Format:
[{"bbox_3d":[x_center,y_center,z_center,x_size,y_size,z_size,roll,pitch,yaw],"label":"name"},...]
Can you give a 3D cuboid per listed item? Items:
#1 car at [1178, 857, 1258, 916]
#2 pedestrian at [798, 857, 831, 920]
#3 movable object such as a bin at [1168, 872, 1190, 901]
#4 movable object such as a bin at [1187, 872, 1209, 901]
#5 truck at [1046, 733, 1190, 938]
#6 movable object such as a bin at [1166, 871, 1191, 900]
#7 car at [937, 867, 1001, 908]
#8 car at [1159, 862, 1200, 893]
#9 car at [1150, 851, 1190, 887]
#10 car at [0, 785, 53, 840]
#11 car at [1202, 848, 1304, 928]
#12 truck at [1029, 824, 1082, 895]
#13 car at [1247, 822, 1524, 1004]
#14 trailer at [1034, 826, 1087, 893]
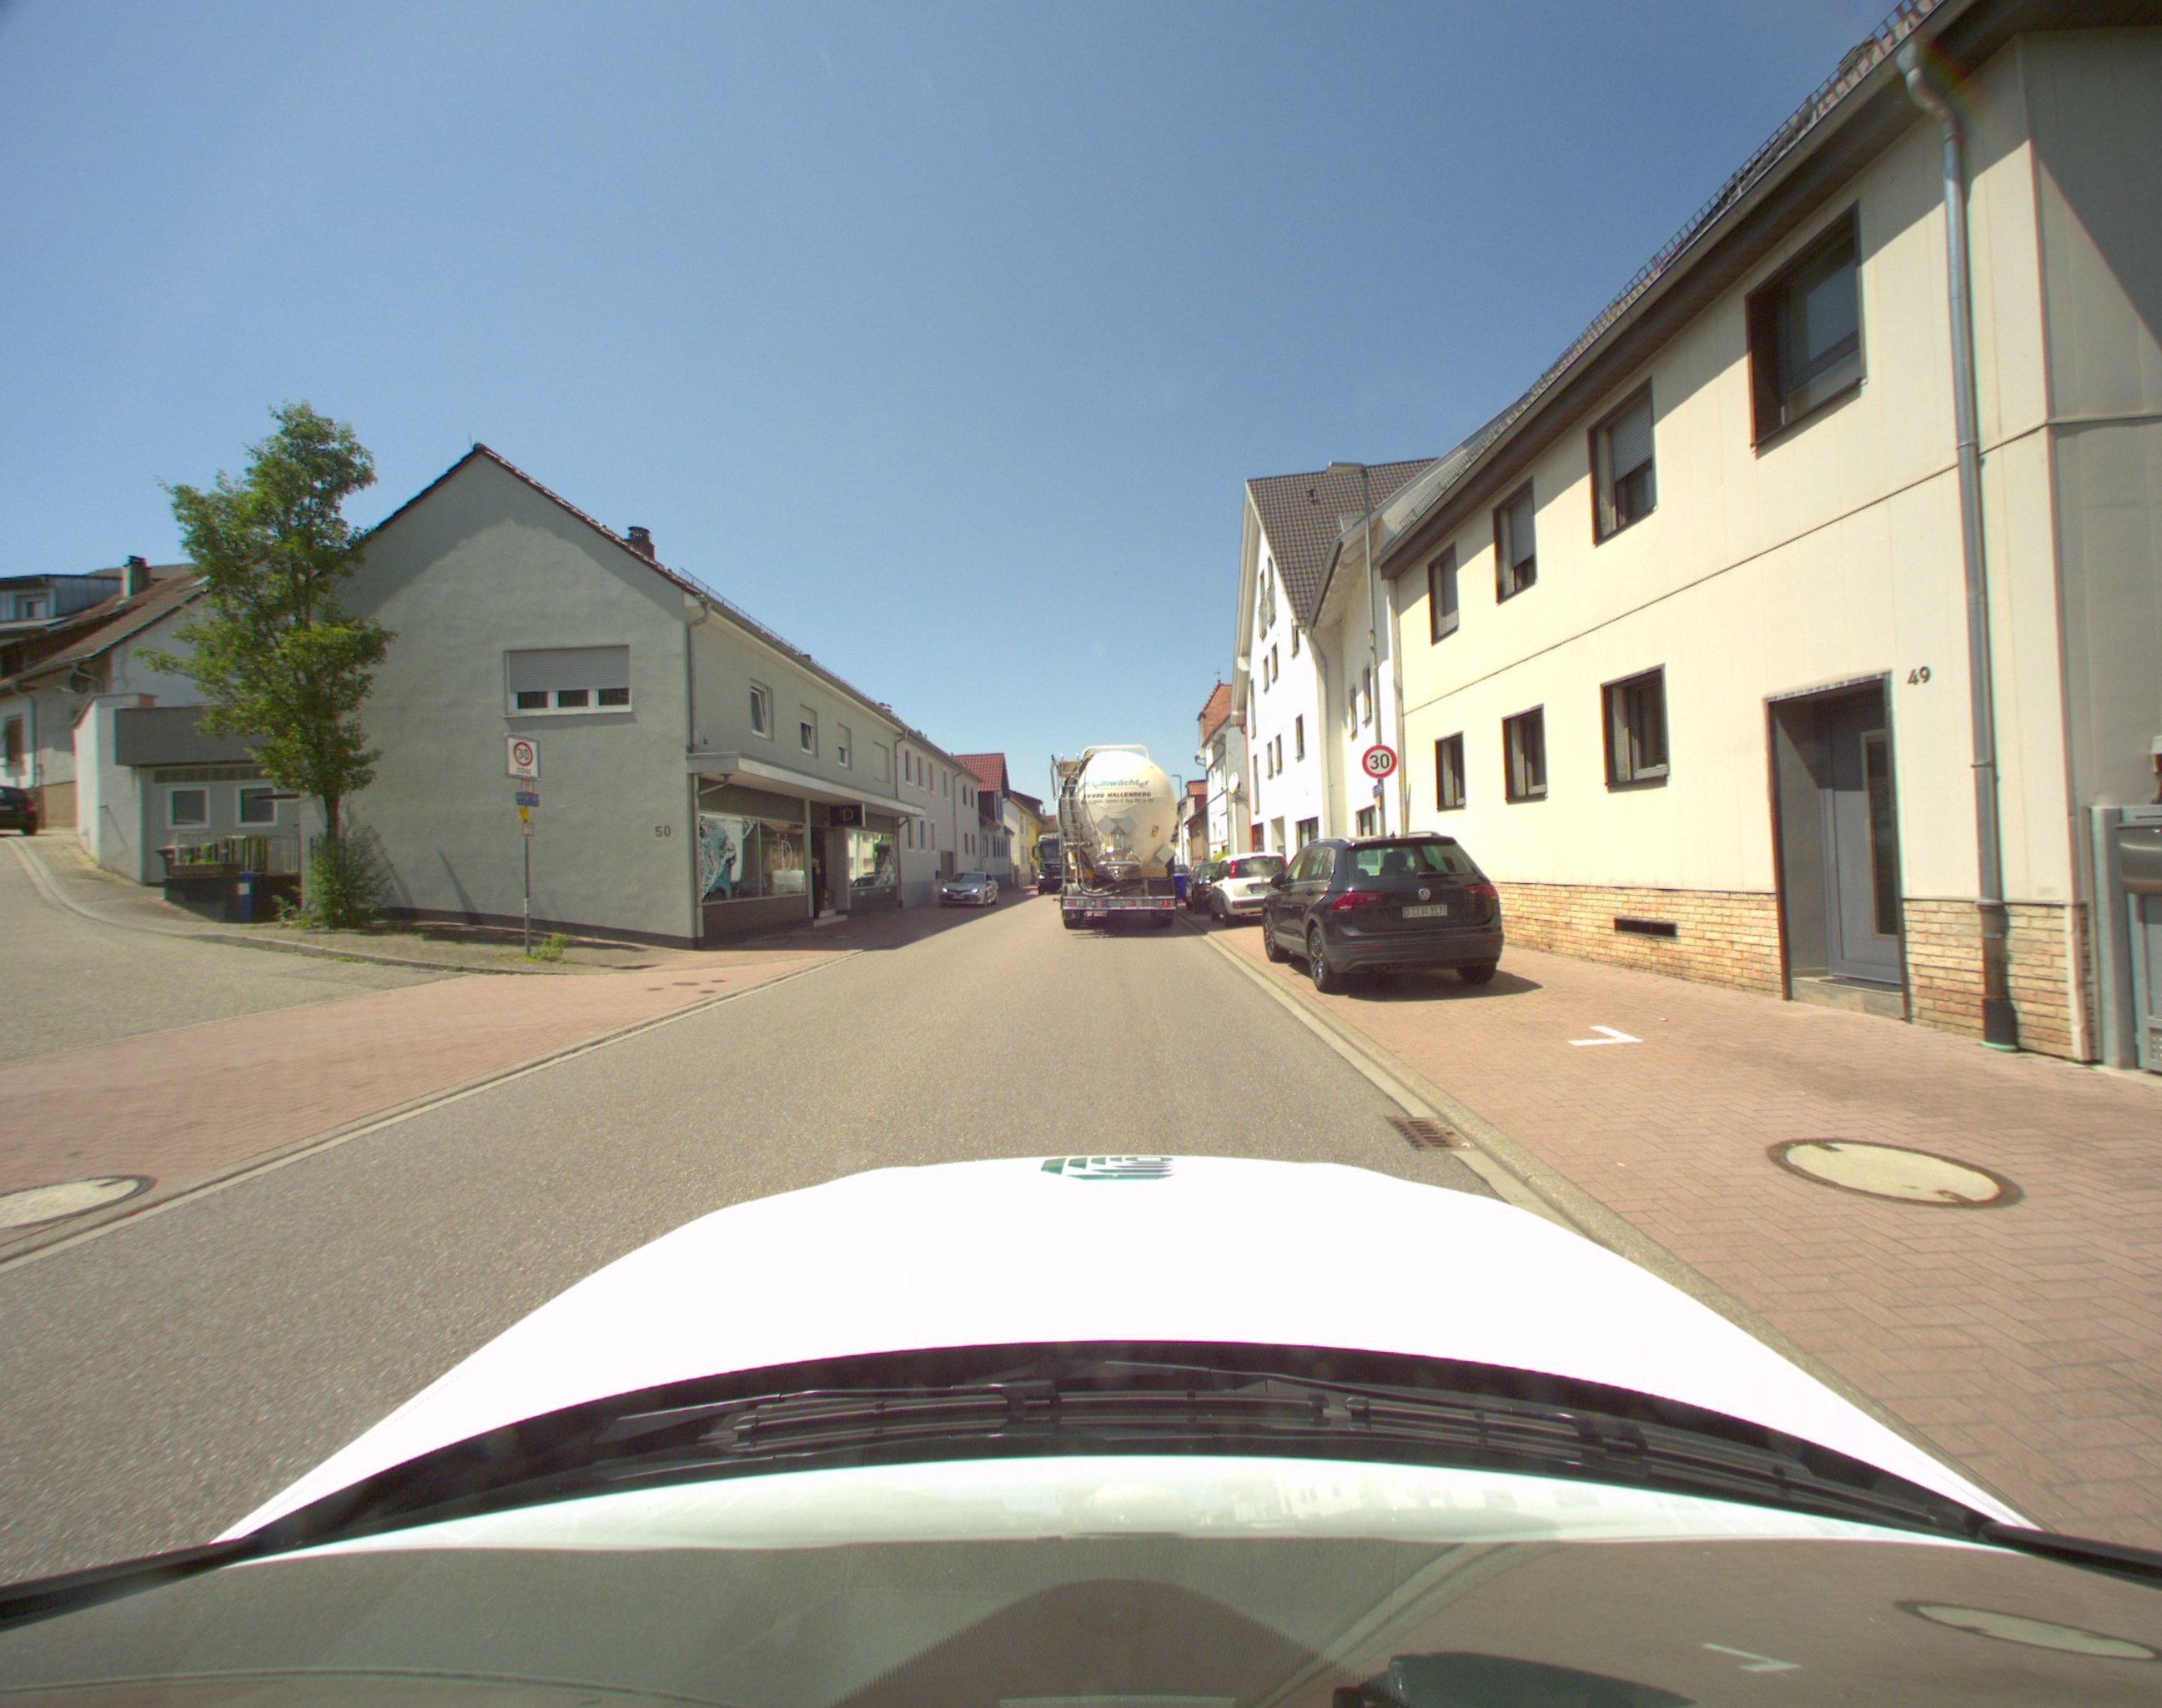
[{"bbox_3d":[3.960,0.904,24.257,1.694,1.447,4.839,-5,-1,2],"label":"car"},{"bbox_3d":[-7.352,0.938,22.512,0.622,1.685,0.771,-1,-1,1],"label":"pedestrian"},{"bbox_3d":[3.807,1.265,31.719,0.650,1.035,0.687,-4,-1,18],"label":"movable object such as a bin"},{"bbox_3d":[4.547,1.247,31.688,0.649,1.060,0.839,-4,-1,18],"label":"movable object such as a bin"},{"bbox_3d":[0.914,-0.286,19.949,2.721,3.960,8.146,-1,-1,3],"label":"truck"},{"bbox_3d":[3.912,1.258,32.603,0.716,1.073,0.976,-4,-1,18],"label":"movable object such as a bin"},{"bbox_3d":[-4.594,1.345,34.023,1.801,1.557,4.567,0,-1,3],"label":"car"},{"bbox_3d":[5.057,1.190,42.143,1.762,1.466,4.581,-3,-1,3],"label":"car"},{"bbox_3d":[5.397,0.907,49.901,1.939,1.970,4.785,-3,-1,1],"label":"car"},{"bbox_3d":[-32.415,-1.299,24.012,3.768,1.499,1.692,4,1,24],"label":"car"},{"bbox_3d":[3.815,0.730,18.600,1.600,1.522,3.547,-5,-1,2],"label":"car"},{"bbox_3d":[-1.467,0.385,50.609,2.608,3.985,6.855,-3,-1,2],"label":"truck"},{"bbox_3d":[3.353,0.566,10.031,1.795,1.614,4.551,-4,0,2],"label":"car"},{"bbox_3d":[-1.198,0.496,58.034,2.620,3.979,15.704,-3,-1,2],"label":"trailer"}]
